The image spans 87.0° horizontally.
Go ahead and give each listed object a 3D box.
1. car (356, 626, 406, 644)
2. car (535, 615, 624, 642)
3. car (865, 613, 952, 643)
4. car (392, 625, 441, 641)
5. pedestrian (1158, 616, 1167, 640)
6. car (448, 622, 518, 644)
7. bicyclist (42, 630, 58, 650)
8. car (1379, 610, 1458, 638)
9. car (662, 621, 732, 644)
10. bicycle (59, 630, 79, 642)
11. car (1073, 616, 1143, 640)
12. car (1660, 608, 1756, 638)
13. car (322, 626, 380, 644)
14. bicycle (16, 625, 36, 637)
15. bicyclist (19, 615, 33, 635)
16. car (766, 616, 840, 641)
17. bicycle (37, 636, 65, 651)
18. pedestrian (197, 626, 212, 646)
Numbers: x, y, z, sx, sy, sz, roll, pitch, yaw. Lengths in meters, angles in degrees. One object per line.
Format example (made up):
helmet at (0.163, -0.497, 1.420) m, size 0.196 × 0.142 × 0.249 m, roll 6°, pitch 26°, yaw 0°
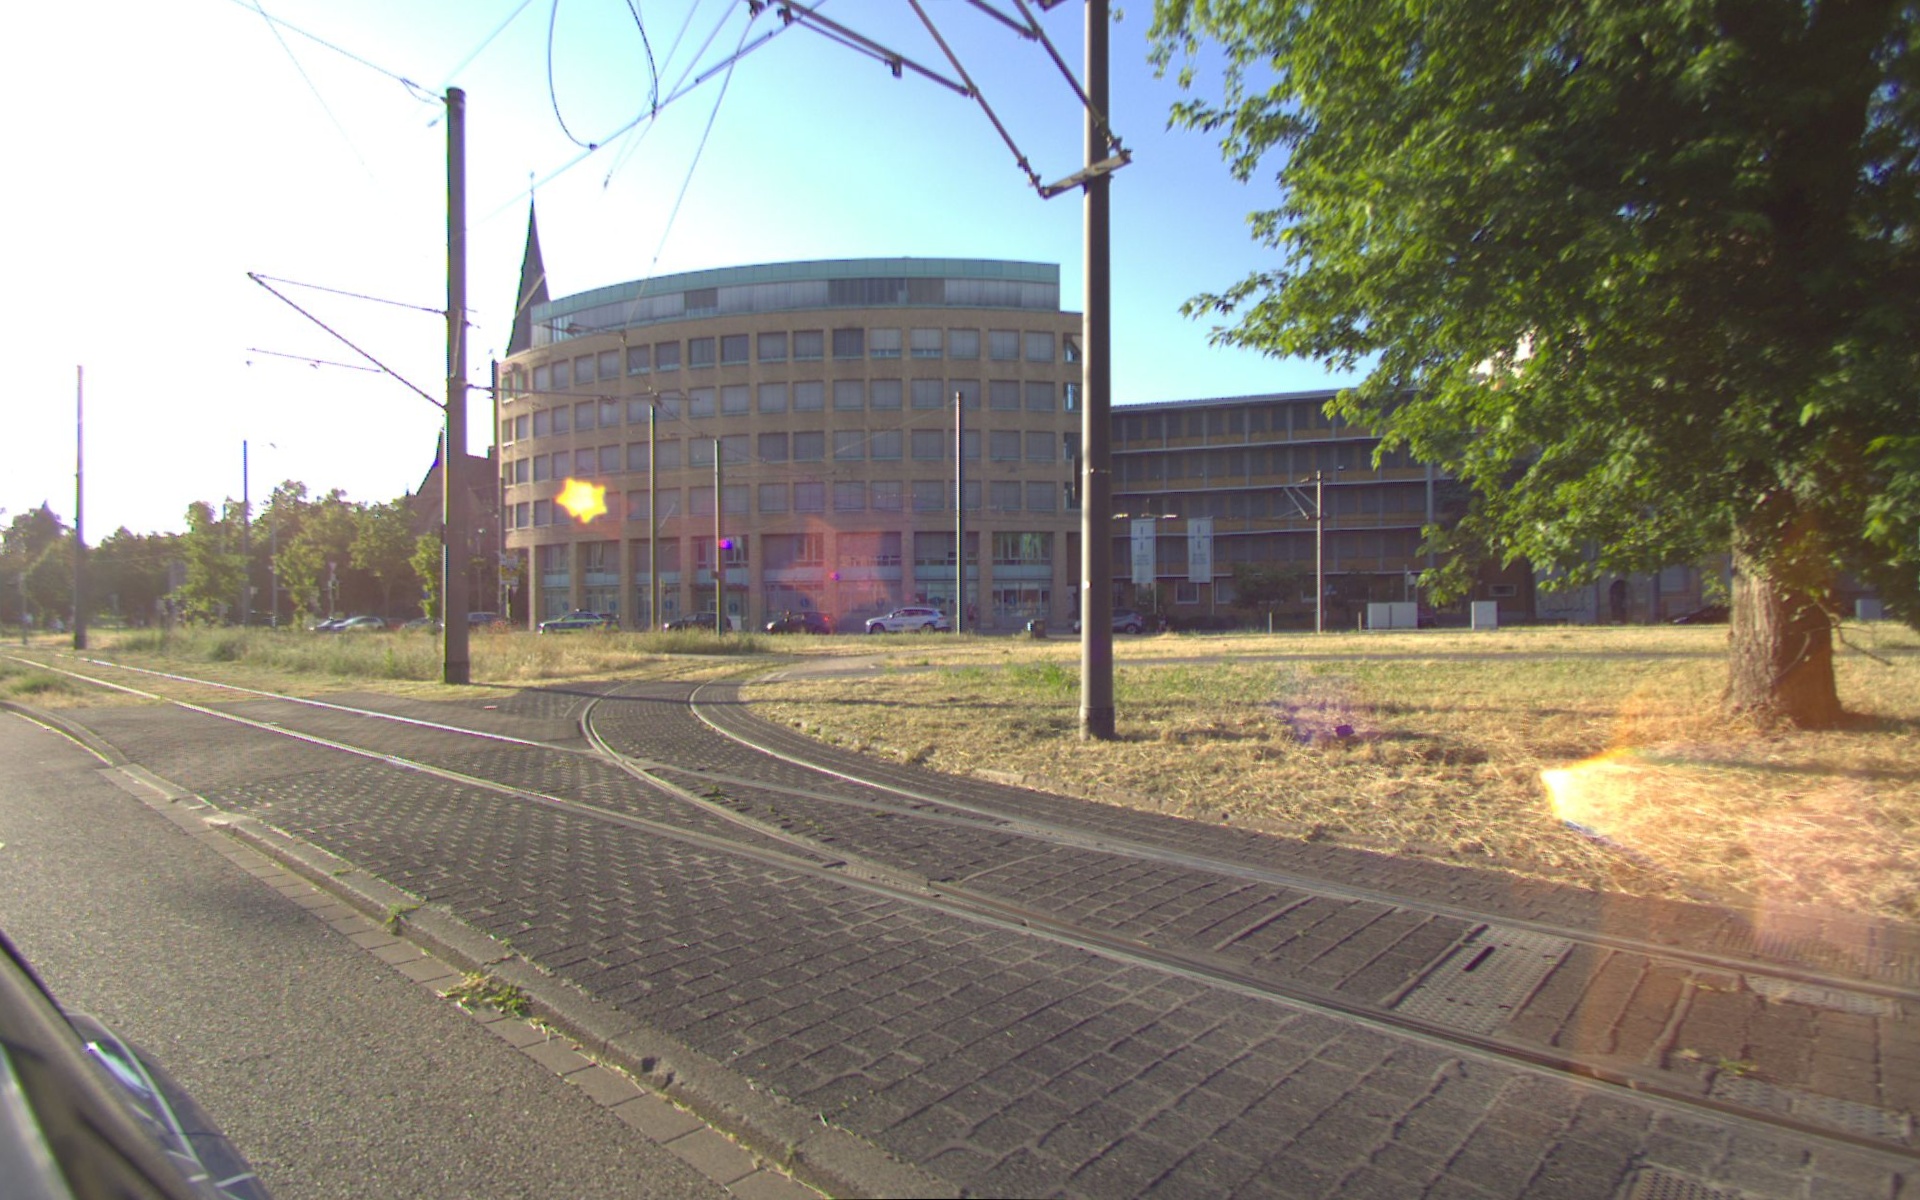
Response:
car at (-55.271, 3.330, 96.729) m, size 1.810 × 1.597 × 3.977 m, roll -1°, pitch -1°, yaw 18°
car at (-22.412, 1.658, 59.615) m, size 4.739 × 1.491 × 1.885 m, roll -1°, pitch -1°, yaw 16°
car at (-2.713, 1.500, 53.667) m, size 4.264 × 1.493 × 1.770 m, roll -1°, pitch -1°, yaw 12°
car at (-51.886, 3.180, 96.675) m, size 1.887 × 1.431 × 3.976 m, roll -1°, pitch -1°, yaw 18°
pedestrian at (12.067, 1.658, 60.228) m, size 0.481 × 1.441 × 0.412 m, roll -1°, pitch -1°, yaw 18°
car at (-29.221, 2.018, 62.001) m, size 3.758 × 1.292 × 1.720 m, roll -1°, pitch -1°, yaw 19°
bicyclist at (-75.292, 3.300, 83.748) m, size 0.809 × 1.595 × 0.521 m, roll -1°, pitch 0°, yaw 0°
car at (24.031, 1.249, 53.149) m, size 3.483 × 1.364 × 1.549 m, roll -2°, pitch 0°, yaw 11°
car at (-14.847, 1.830, 57.049) m, size 3.567 × 1.162 × 1.517 m, roll -1°, pitch -1°, yaw 17°
bicycle at (-80.623, 3.285, 91.611) m, size 1.915 × 1.034 × 0.457 m, roll -1°, pitch 0°, yaw 19°
car at (8.344, 1.579, 56.894) m, size 3.696 × 1.268 × 1.562 m, roll -1°, pitch -1°, yaw 17°
car at (37.573, 1.135, 50.897) m, size 3.481 × 1.364 × 1.550 m, roll -2°, pitch 0°, yaw 9°
car at (-52.366, 3.007, 87.047) m, size 1.889 × 1.431 × 3.971 m, roll -1°, pitch -1°, yaw 21°
bicycle at (-88.711, 2.922, 96.112) m, size 1.914 × 1.034 × 0.522 m, roll -1°, pitch 2°, yaw 18°
bicyclist at (-88.744, 2.393, 96.124) m, size 0.887 × 1.841 × 0.572 m, roll -1°, pitch 0°, yaw 18°
car at (-8.558, 1.566, 55.239) m, size 3.705 × 1.291 × 1.643 m, roll -1°, pitch -1°, yaw 16°
bicycle at (-75.226, 3.606, 83.749) m, size 1.892 × 1.155 × 0.460 m, roll -1°, pitch 0°, yaw 0°
pedestrian at (-63.238, 3.023, 84.745) m, size 0.712 × 1.685 × 0.733 m, roll -2°, pitch -1°, yaw 21°
